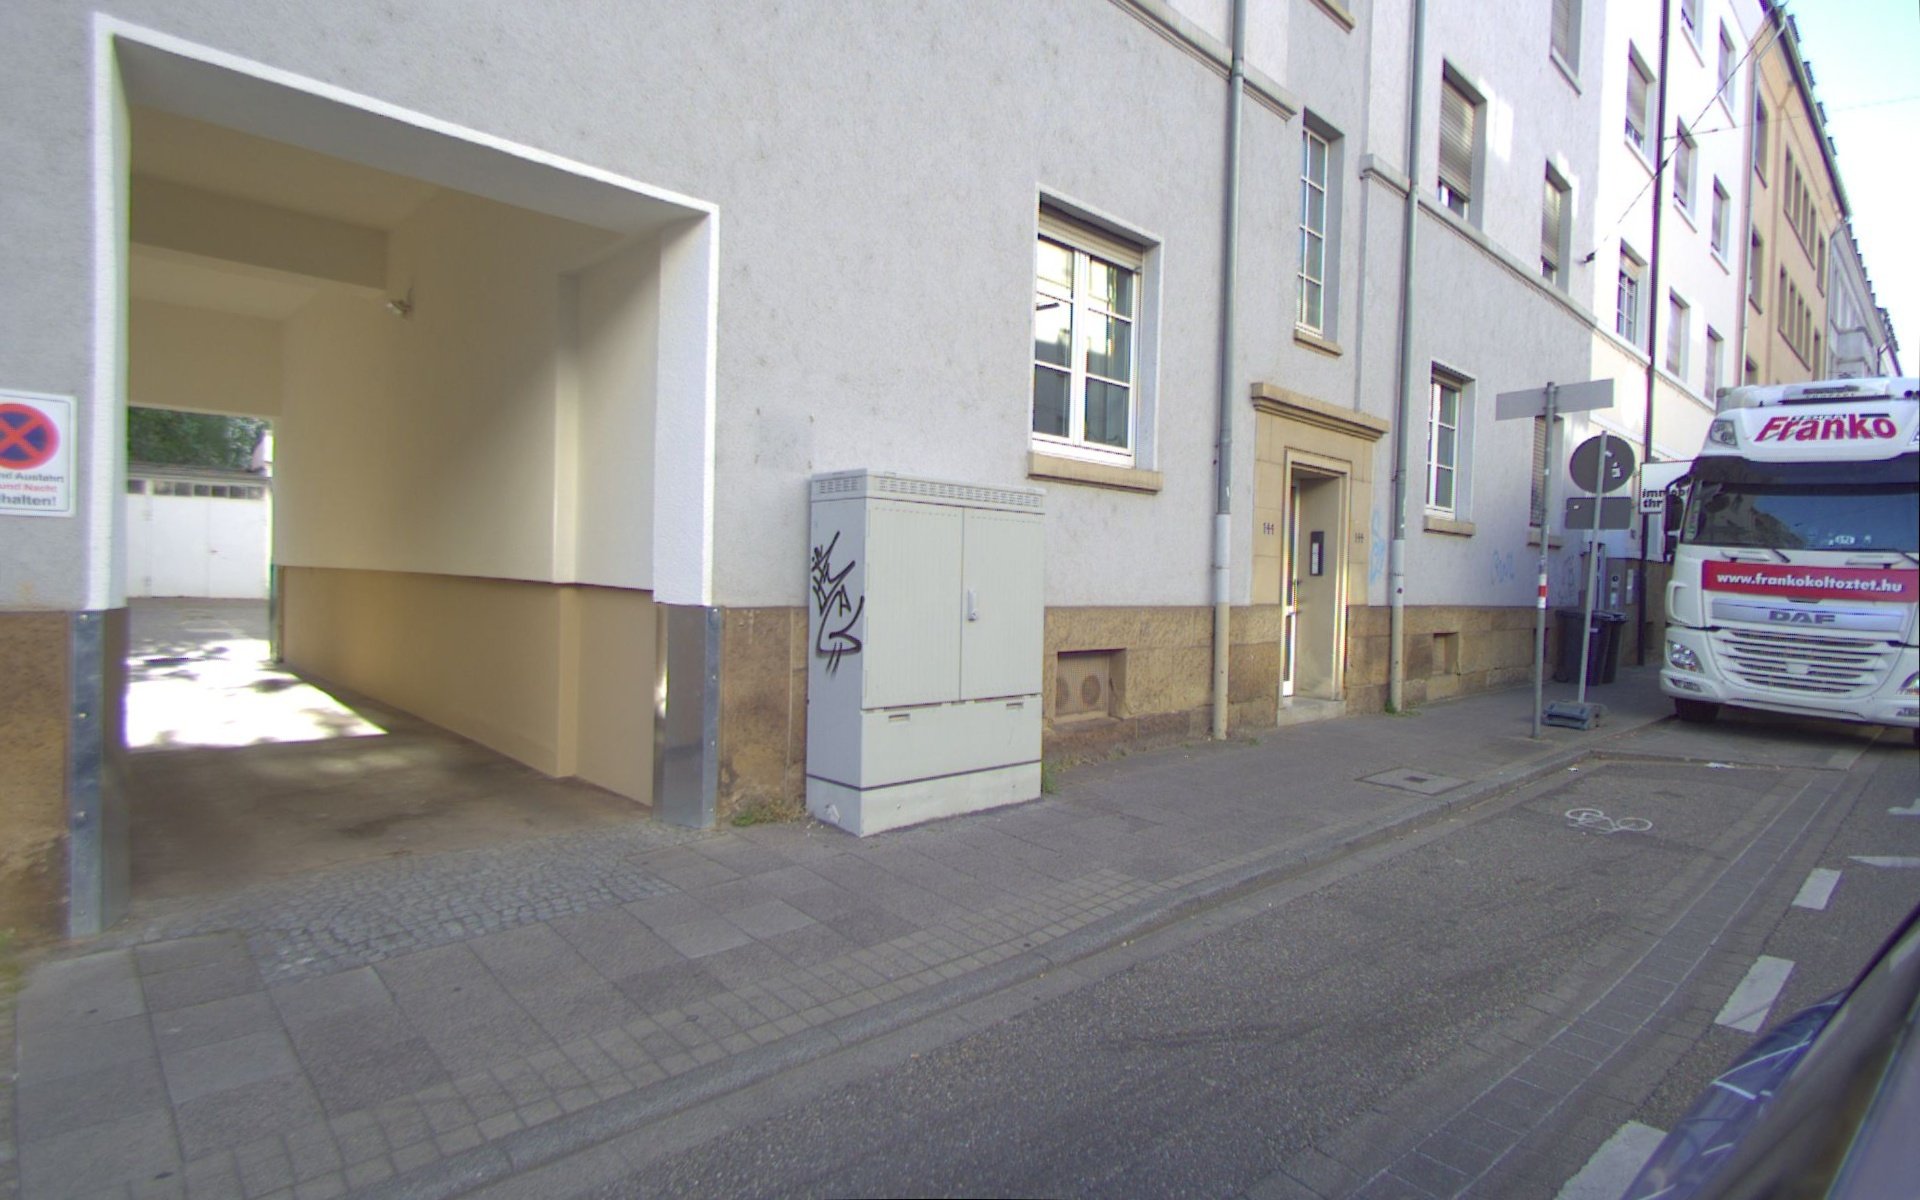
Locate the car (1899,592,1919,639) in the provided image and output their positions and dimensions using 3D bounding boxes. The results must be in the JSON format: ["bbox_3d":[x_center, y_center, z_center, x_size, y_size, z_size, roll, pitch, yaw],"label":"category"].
[{"bbox_3d":[33.503,0.533,34.732,4.080,1.551,1.681,0,0,-44],"label":"car"}]

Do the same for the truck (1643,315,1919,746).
[{"bbox_3d":[12.575,-0.676,13.879,11.621,3.975,2.778,0,2,-44],"label":"truck"}]

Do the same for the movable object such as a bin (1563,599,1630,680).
[{"bbox_3d":[9.170,0.554,14.586,0.560,1.107,0.665,0,2,-43],"label":"movable object such as a bin"}]

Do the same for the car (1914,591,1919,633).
[{"bbox_3d":[37.673,0.465,38.630,4.080,1.551,1.681,0,0,-44],"label":"car"}]

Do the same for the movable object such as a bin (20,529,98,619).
[{"bbox_3d":[-15.154,-0.449,17.015,0.946,1.426,1.597,0,2,-43],"label":"movable object such as a bin"}]

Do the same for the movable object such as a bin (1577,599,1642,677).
[{"bbox_3d":[9.649,0.546,15.037,0.560,1.107,0.665,0,2,-43],"label":"movable object such as a bin"}]

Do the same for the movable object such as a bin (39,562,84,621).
[{"bbox_3d":[-14.378,-0.142,16.196,0.518,0.922,0.580,0,2,-43],"label":"movable object such as a bin"}]
